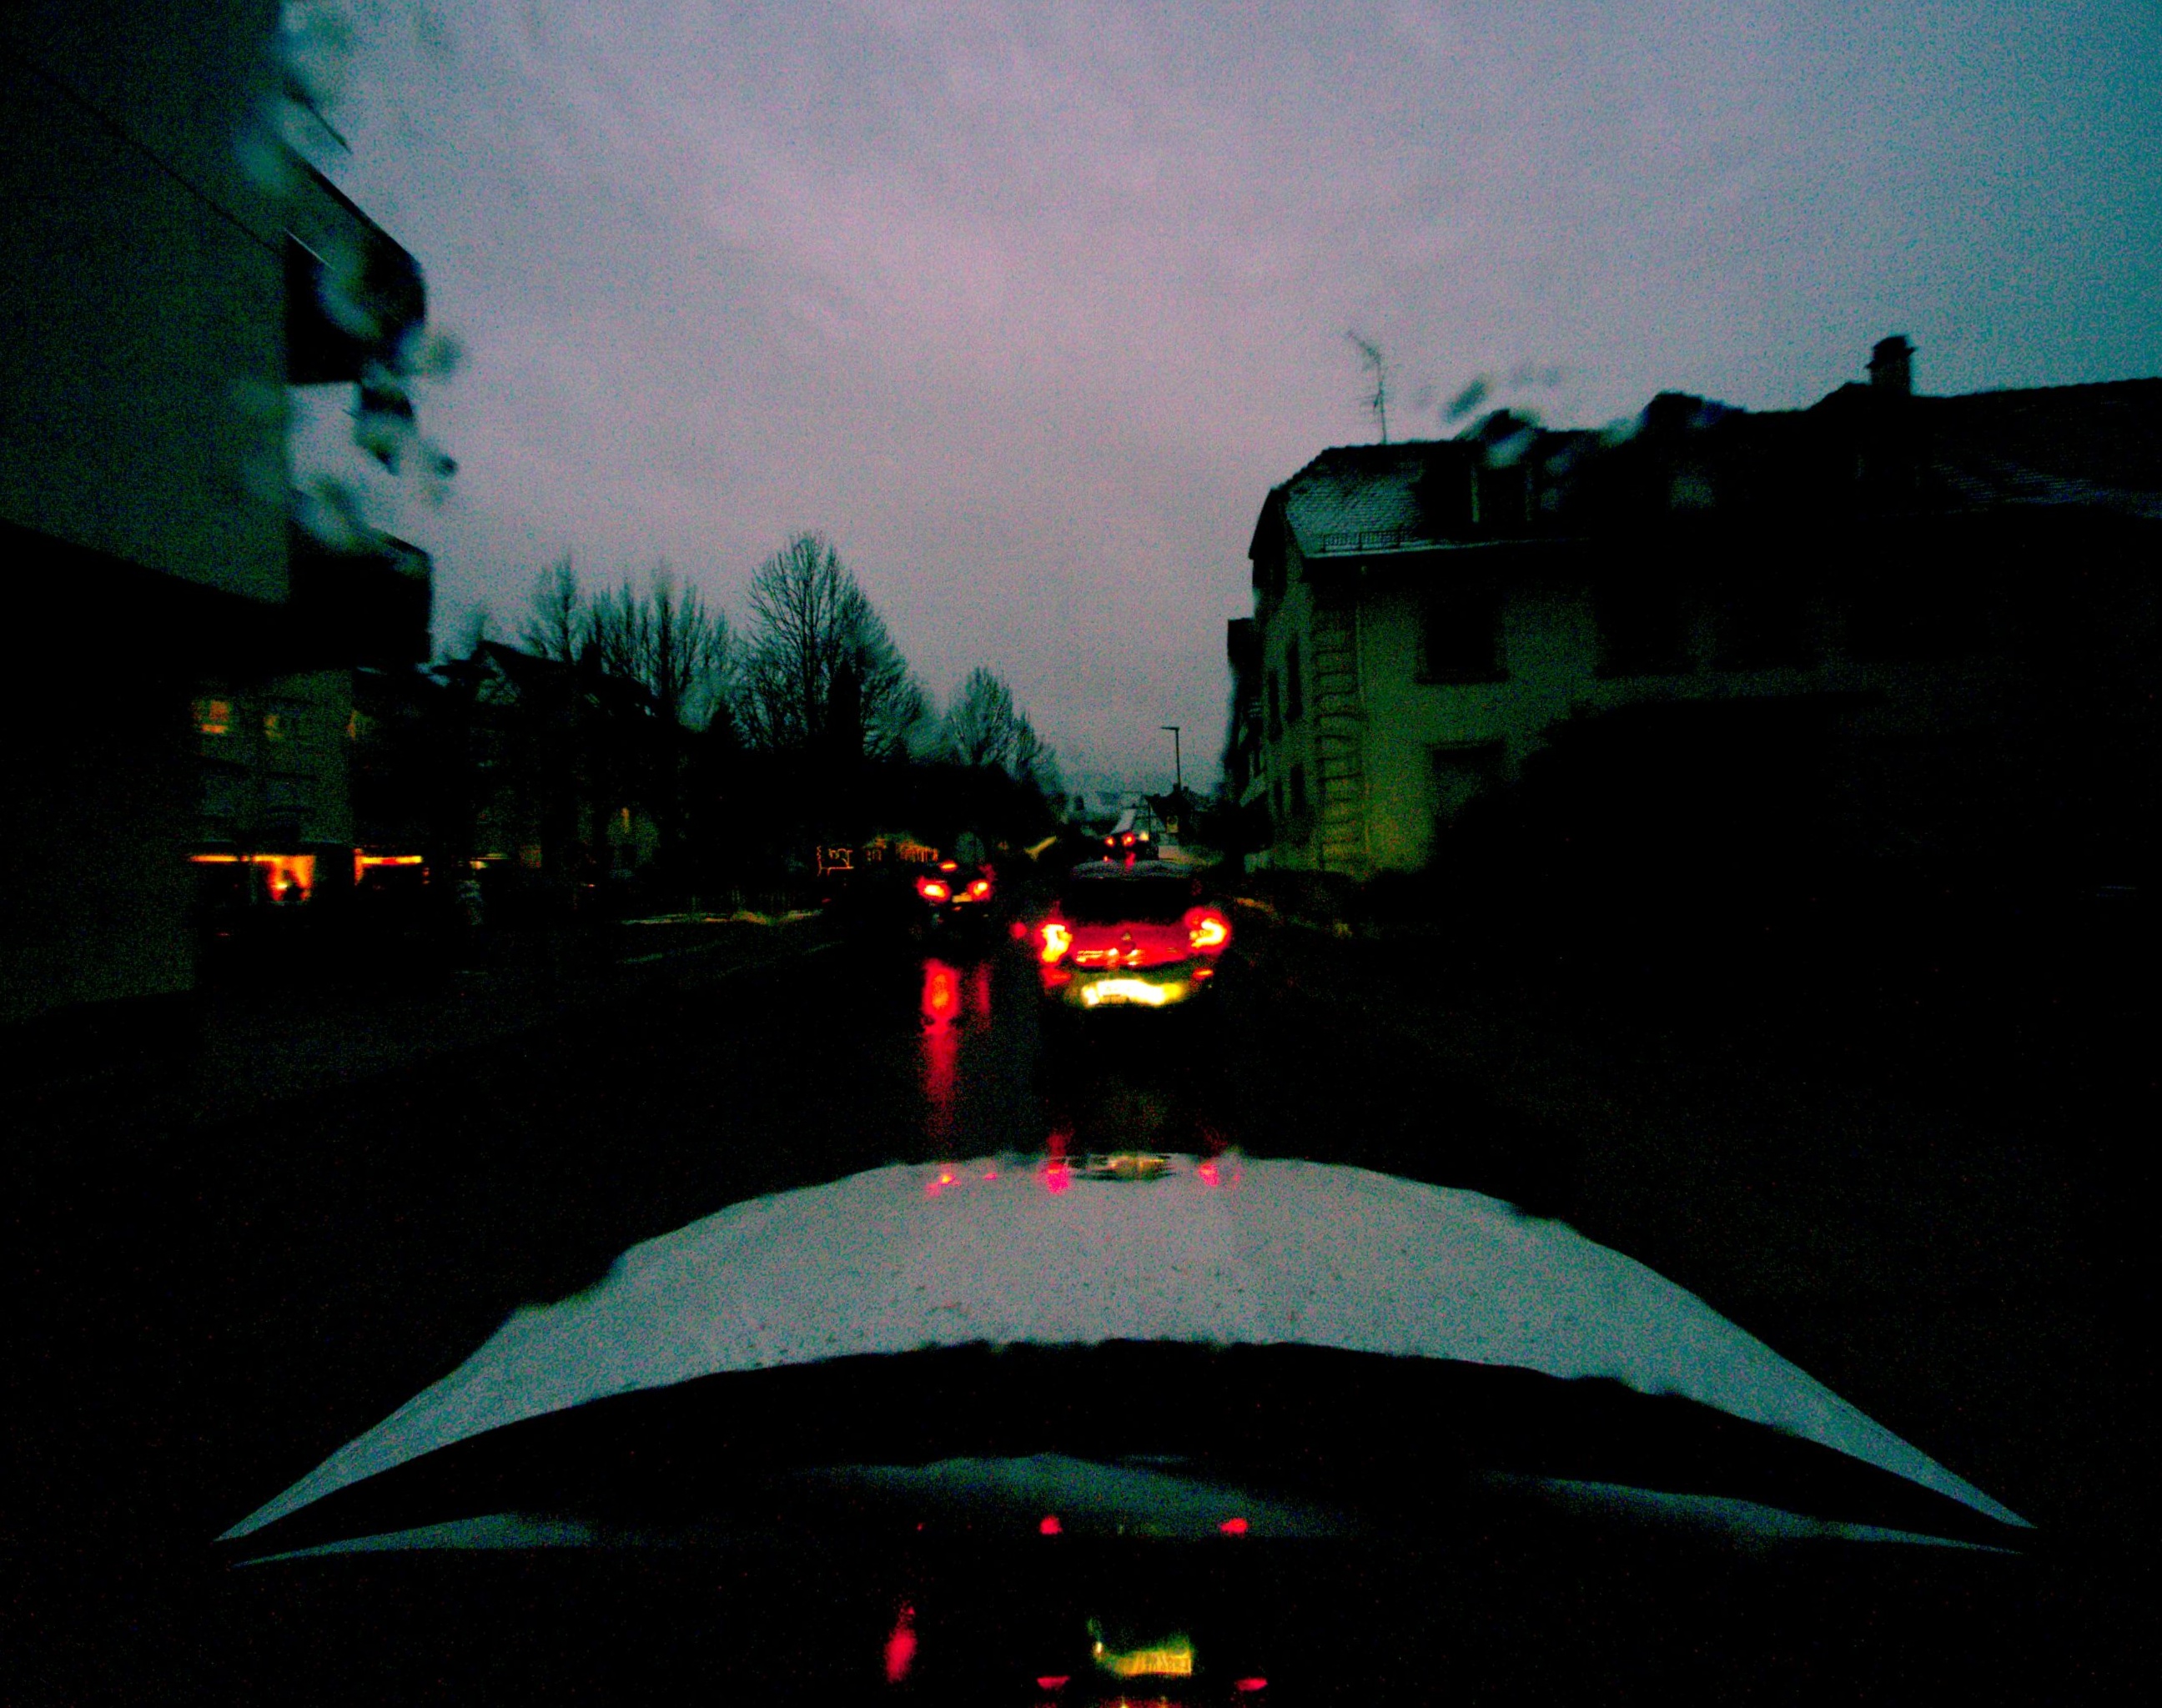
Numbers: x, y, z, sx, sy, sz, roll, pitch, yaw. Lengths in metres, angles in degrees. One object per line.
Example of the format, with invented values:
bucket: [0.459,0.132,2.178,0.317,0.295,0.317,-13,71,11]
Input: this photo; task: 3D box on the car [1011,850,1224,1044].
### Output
car: [0.341,0.737,8.043,1.632,1.481,3.380,-1,0,2]

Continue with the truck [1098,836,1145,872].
truck: [3.832,0.008,75.065,2.995,3.128,8.027,-1,0,12]

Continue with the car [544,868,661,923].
car: [-18.741,1.614,31.932,3.953,1.988,1.829,-2,0,21]

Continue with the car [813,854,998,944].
car: [-3.342,0.779,15.348,3.229,1.481,1.654,-1,0,37]

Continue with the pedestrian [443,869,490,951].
pedestrian: [-11.394,1.017,15.119,0.653,1.458,0.643,-1,0,-35]

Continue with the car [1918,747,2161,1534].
car: [4.090,0.487,1.324,3.862,1.579,1.680,-3,-1,-4]

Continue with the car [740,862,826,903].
car: [-15.663,1.494,42.796,3.953,1.998,1.829,-2,0,21]

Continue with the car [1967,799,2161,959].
car: [12.303,0.152,8.451,3.971,1.524,1.938,-3,-1,2]

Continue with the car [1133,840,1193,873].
car: [5.854,0.181,57.789,4.073,2.151,1.918,-2,0,9]

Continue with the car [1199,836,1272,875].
car: [9.048,0.090,47.921,4.073,2.151,1.918,-2,0,9]

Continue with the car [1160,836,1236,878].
car: [6.567,0.161,45.679,4.073,2.163,1.918,-2,0,8]

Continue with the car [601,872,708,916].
car: [-18.186,1.719,34.716,3.953,1.730,1.829,-2,0,21]

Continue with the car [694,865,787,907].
car: [-16.697,1.572,39.945,3.953,1.910,1.829,-2,0,21]
